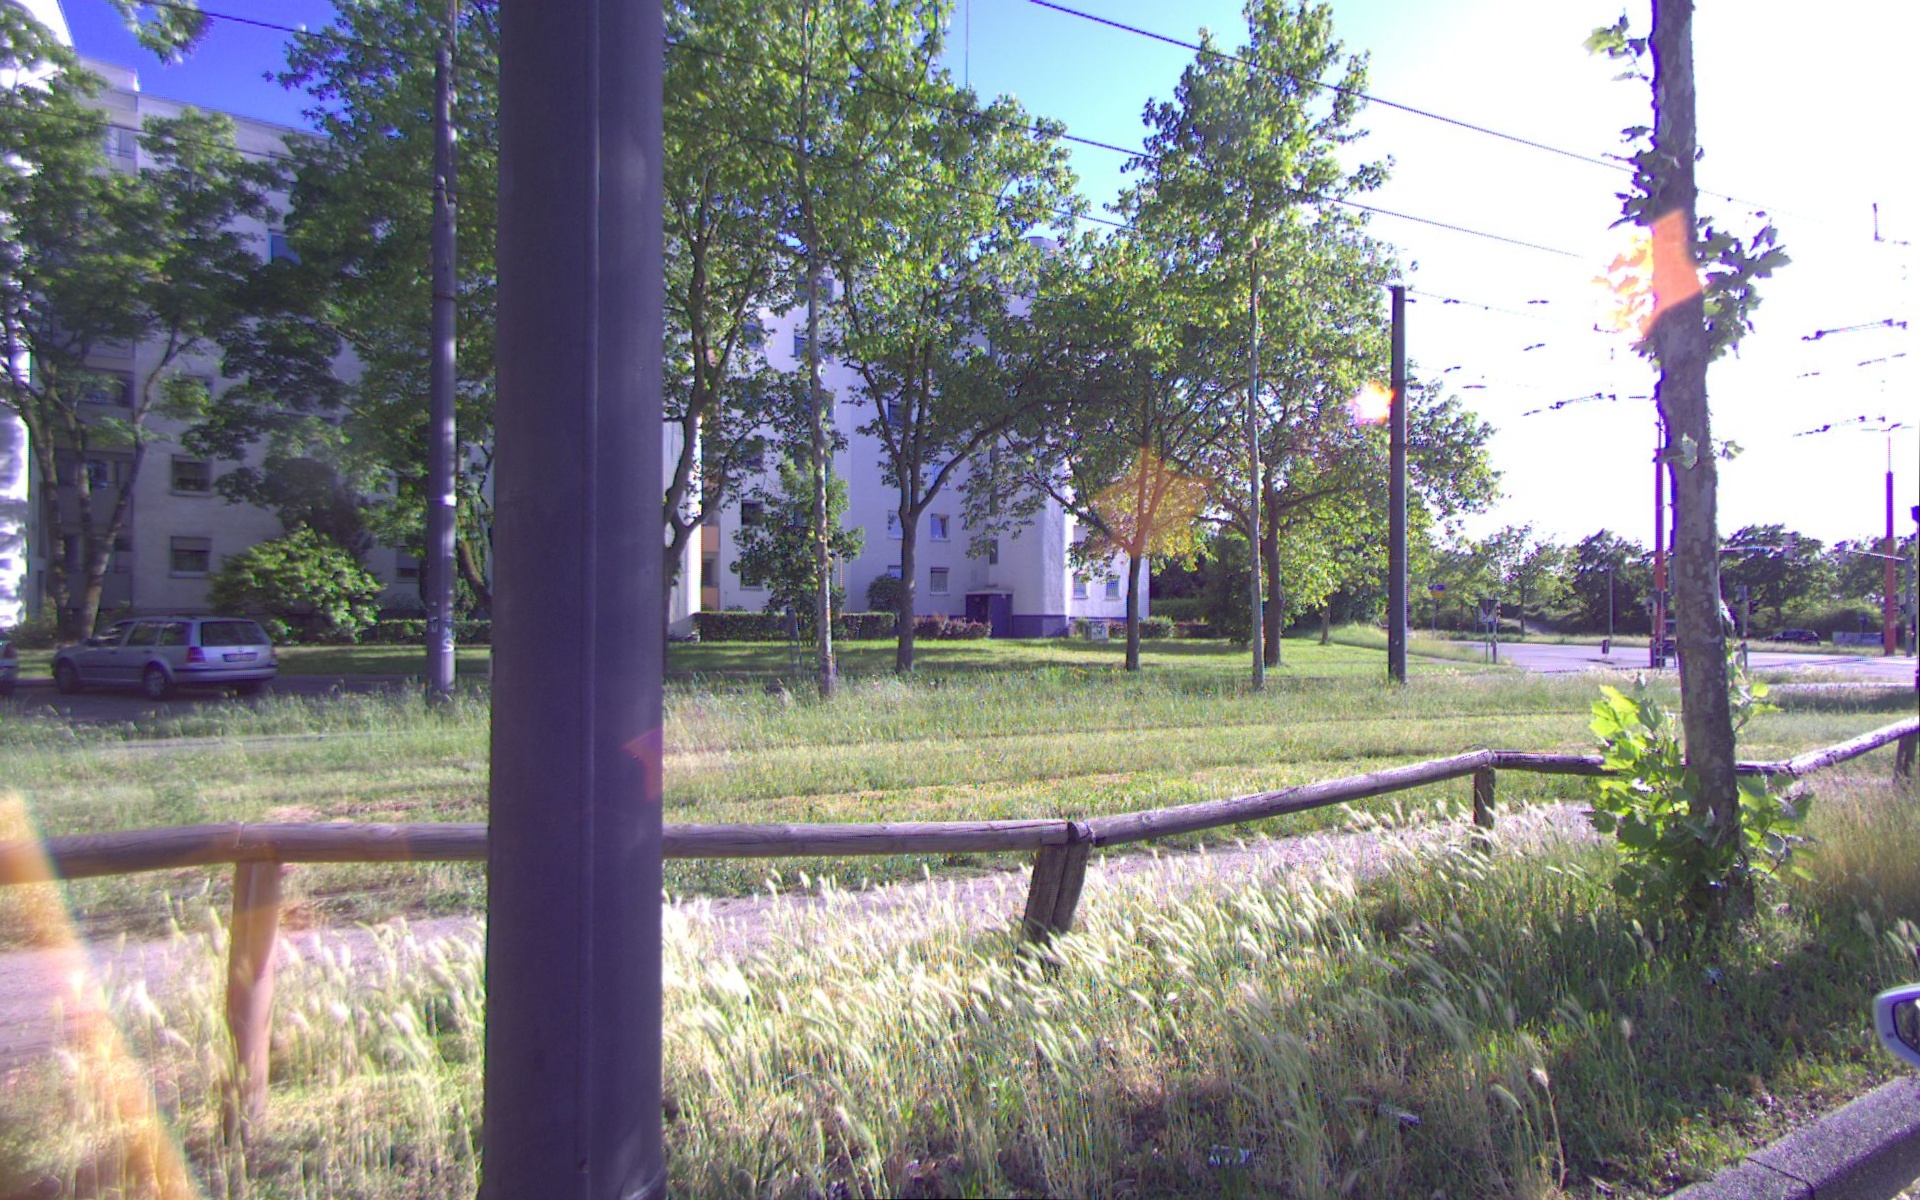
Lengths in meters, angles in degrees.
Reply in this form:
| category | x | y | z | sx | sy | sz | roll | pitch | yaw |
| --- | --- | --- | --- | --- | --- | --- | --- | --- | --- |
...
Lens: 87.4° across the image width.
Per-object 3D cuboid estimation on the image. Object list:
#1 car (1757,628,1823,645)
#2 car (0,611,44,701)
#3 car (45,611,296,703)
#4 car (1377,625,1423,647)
| category | x | y | z | sx | sy | sz | roll | pitch | yaw |
| --- | --- | --- | --- | --- | --- | --- | --- | --- | --- |
| car | 67.225 | 2.918 | 81.422 | 1.907 | 1.283 | 3.998 | 1 | -1 | -5 |
| car | -18.051 | 0.932 | 17.247 | 3.969 | 1.506 | 1.764 | 0 | 0 | 20 |
| car | -14.569 | 0.987 | 18.561 | 3.969 | 1.506 | 1.815 | 0 | 0 | 20 |
| car | 37.766 | 3.054 | 86.397 | 1.867 | 1.798 | 4.446 | -1 | -1 | -2 |
